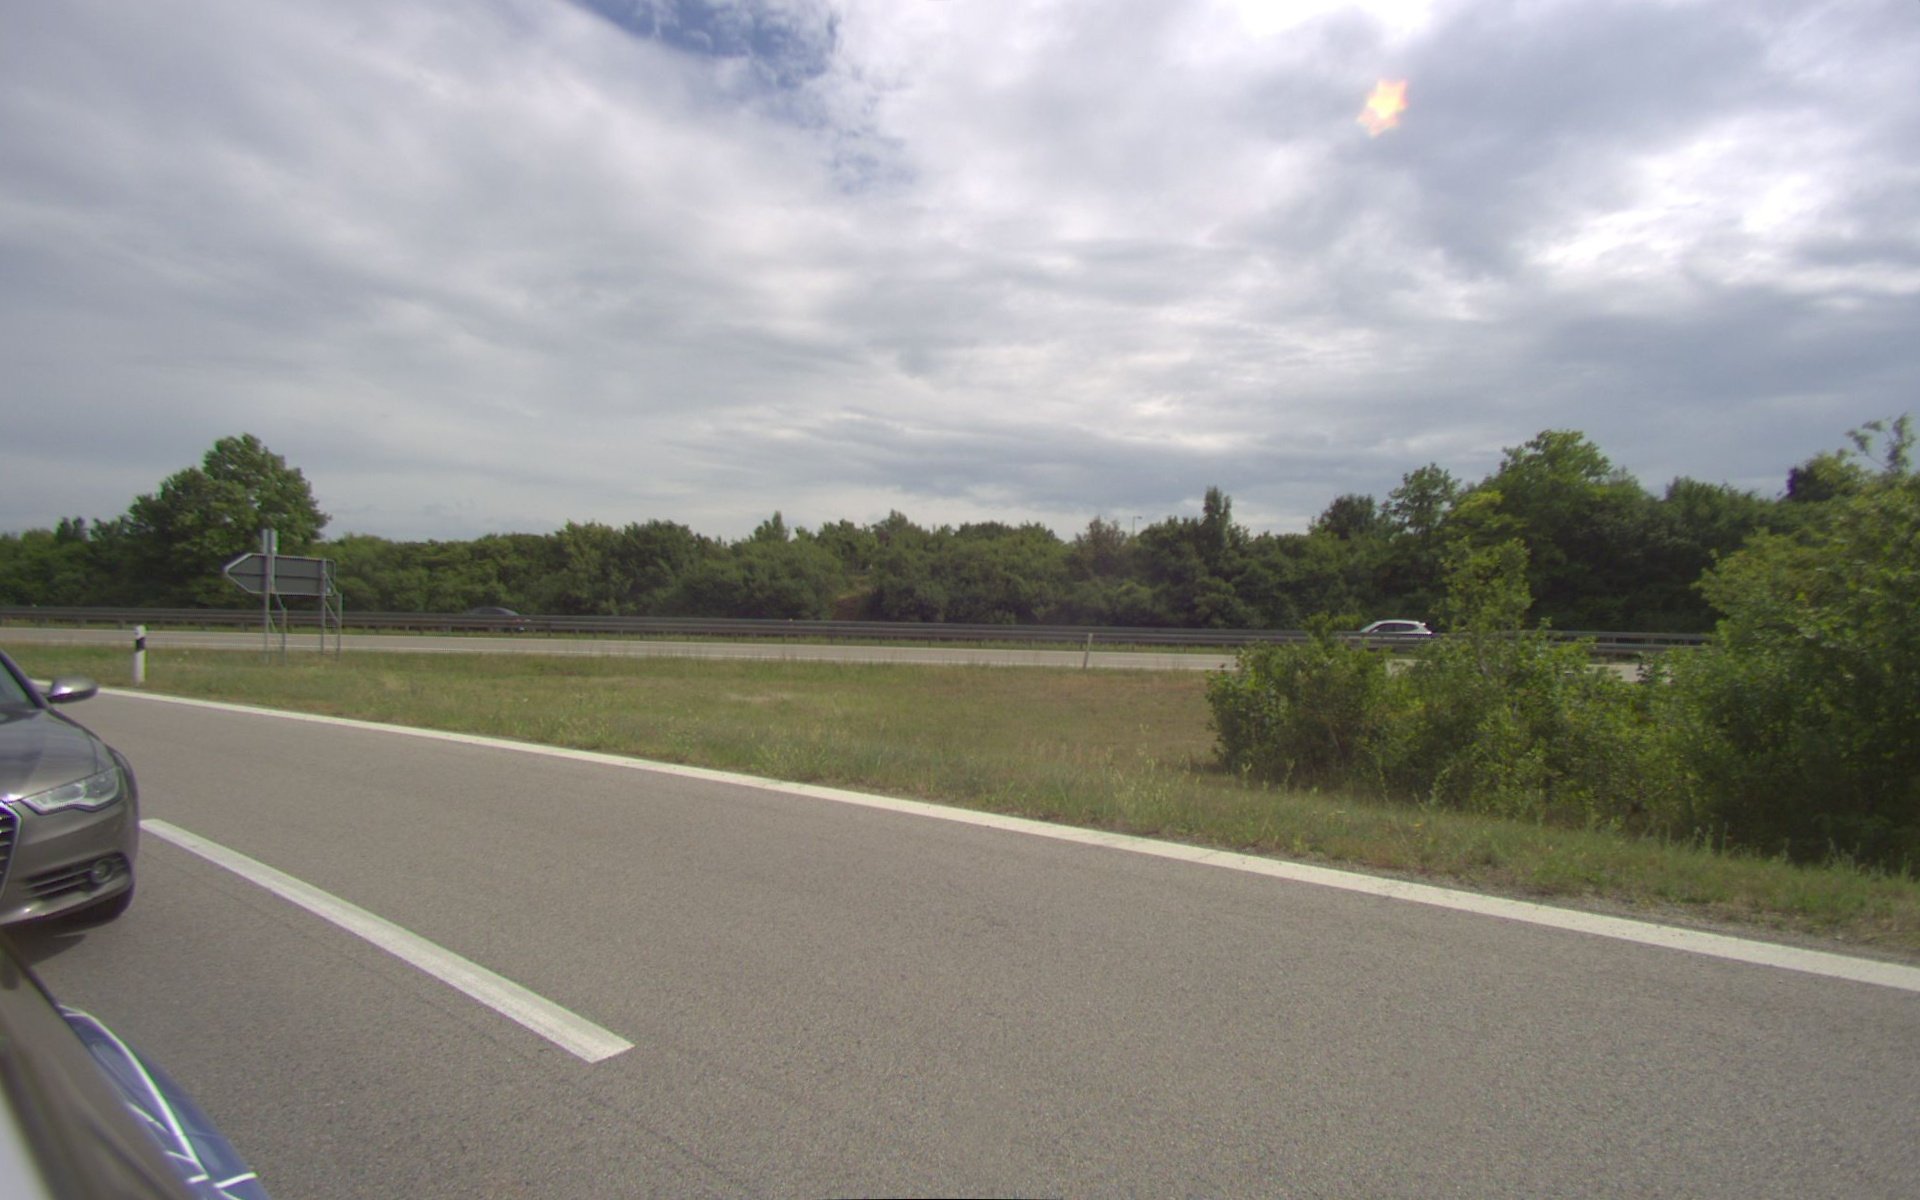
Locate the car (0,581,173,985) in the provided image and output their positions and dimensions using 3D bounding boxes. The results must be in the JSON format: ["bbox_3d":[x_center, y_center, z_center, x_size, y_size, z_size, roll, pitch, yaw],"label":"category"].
[{"bbox_3d":[-5.655,0.712,4.931,4.534,1.526,1.973,-1,0,40],"label":"car"}]

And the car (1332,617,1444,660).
[{"bbox_3d":[18.098,1.617,42.940,3.949,1.697,1.997,1,-1,4],"label":"car"}]

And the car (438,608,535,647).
[{"bbox_3d":[-23.997,1.363,51.360,4.155,1.887,1.841,-1,0,7],"label":"car"}]
